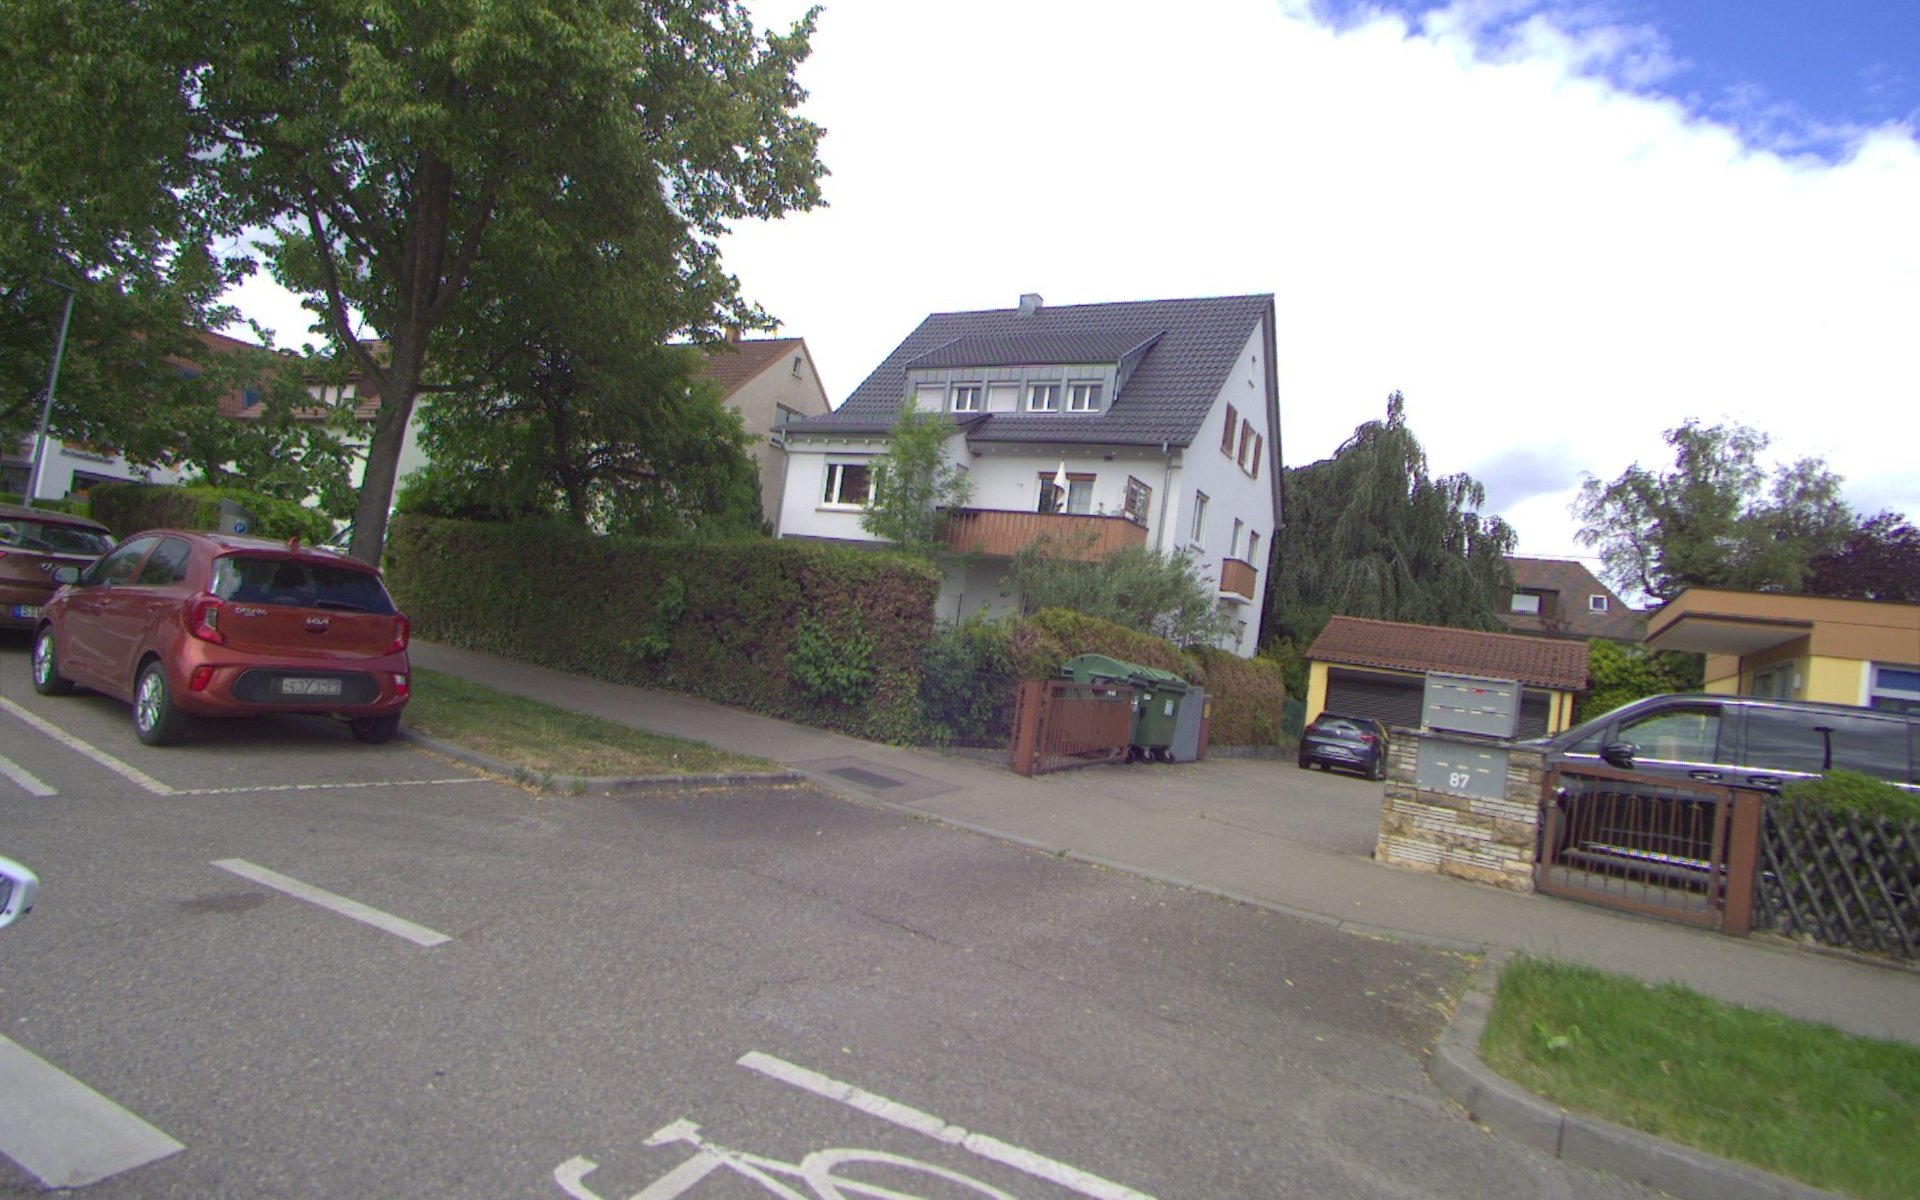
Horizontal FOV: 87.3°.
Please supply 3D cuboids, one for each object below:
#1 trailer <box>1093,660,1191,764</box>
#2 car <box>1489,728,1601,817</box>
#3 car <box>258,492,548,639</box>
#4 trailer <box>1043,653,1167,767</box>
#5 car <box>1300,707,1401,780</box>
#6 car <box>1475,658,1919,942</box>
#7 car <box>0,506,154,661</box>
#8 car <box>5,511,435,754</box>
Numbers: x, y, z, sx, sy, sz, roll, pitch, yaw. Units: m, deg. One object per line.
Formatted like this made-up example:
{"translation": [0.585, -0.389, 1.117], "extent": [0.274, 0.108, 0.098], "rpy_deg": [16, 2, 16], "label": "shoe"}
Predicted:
{"translation": [2.899, 1.786, 15.903], "extent": [0.967, 1.433, 1.475], "rpy_deg": [7, -4, 28], "label": "trailer"}
{"translation": [12.978, 3.825, 22.395], "extent": [1.831, 1.475, 4.002], "rpy_deg": [7, -5, 31], "label": "car"}
{"translation": [-13.249, -0.692, 24.440], "extent": [1.964, 2.621, 5.728], "rpy_deg": [8, -2, 30], "label": "car"}
{"translation": [2.108, 1.606, 14.453], "extent": [1.130, 1.388, 1.588], "rpy_deg": [7, -4, 28], "label": "trailer"}
{"translation": [9.233, 3.408, 23.628], "extent": [1.551, 1.343, 3.694], "rpy_deg": [7, -5, 31], "label": "car"}
{"translation": [7.517, 1.848, 9.495], "extent": [4.396, 1.901, 1.820], "rpy_deg": [7, -4, 34], "label": "car"}
{"translation": [-10.874, -0.334, 11.194], "extent": [4.108, 1.433, 1.655], "rpy_deg": [7, -1, 33], "label": "car"}
{"translation": [-6.078, 0.206, 8.161], "extent": [3.610, 1.471, 1.568], "rpy_deg": [6, -3, 34], "label": "car"}
